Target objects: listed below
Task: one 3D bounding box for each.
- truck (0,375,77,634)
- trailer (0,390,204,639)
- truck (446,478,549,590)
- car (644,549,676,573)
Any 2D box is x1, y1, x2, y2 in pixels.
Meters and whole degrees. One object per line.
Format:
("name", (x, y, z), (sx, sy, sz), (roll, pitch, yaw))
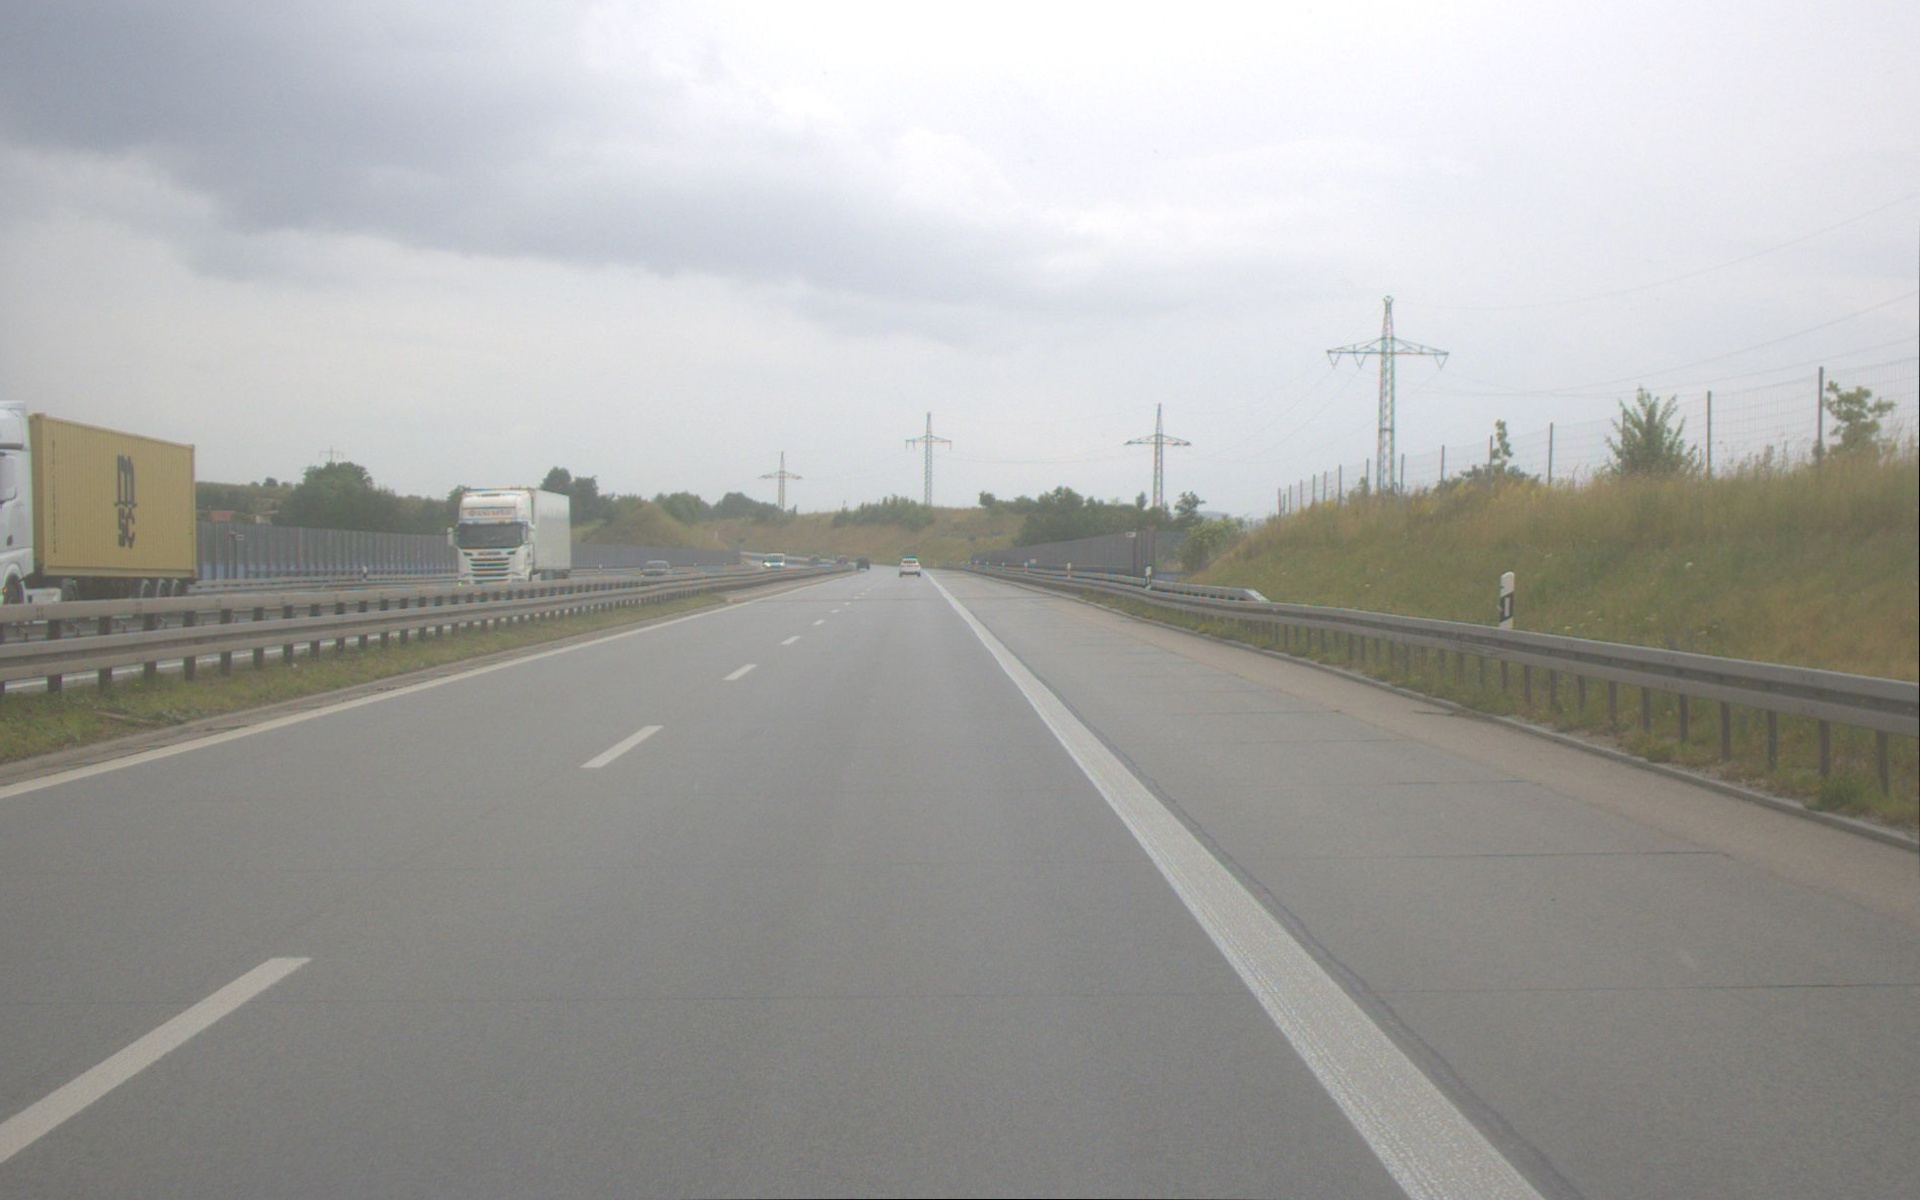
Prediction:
("truck", (-15.867, -1.474, 54.207), (2.592, 3.912, 5.588), (0, 1, -2))
("trailer", (-16.042, -1.437, 60.914), (2.589, 3.912, 13.703), (0, 1, -1))
("truck", (-16.446, -2.335, 122.526), (2.952, 3.912, 5.518), (0, 1, -1))
("car", (-17.811, -2.332, 204.256), (1.631, 1.404, 4.000), (0, 1, -1))
